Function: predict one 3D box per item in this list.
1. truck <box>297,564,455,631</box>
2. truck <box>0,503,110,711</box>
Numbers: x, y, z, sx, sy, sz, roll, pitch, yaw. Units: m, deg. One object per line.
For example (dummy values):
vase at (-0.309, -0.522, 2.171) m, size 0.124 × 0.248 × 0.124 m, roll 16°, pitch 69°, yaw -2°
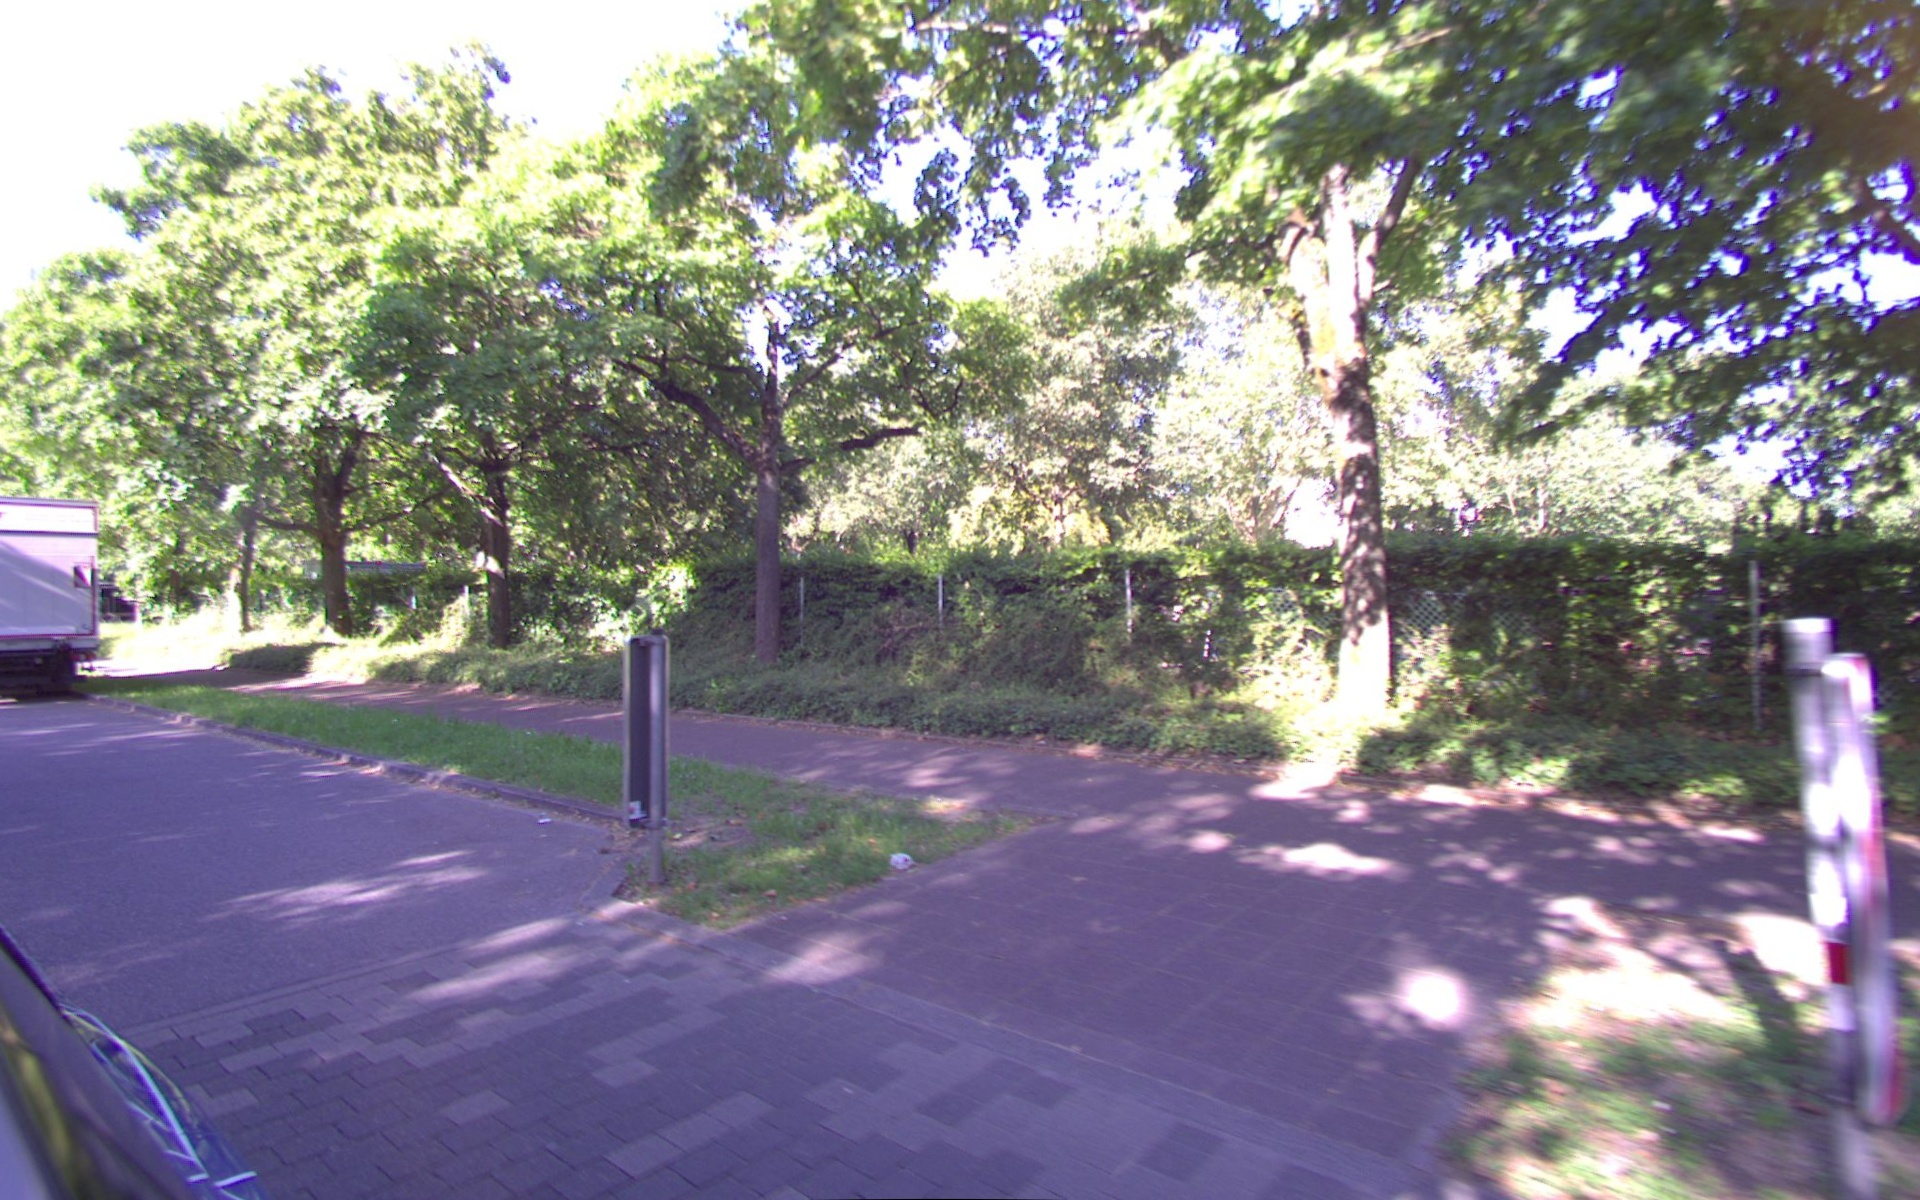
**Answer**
truck at (-19.072, -0.017, 33.183) m, size 2.201 × 2.029 × 3.949 m, roll -2°, pitch -2°, yaw 38°
truck at (-19.937, 0.205, 20.538) m, size 8.093 × 3.669 × 2.707 m, roll -2°, pitch -1°, yaw 40°
